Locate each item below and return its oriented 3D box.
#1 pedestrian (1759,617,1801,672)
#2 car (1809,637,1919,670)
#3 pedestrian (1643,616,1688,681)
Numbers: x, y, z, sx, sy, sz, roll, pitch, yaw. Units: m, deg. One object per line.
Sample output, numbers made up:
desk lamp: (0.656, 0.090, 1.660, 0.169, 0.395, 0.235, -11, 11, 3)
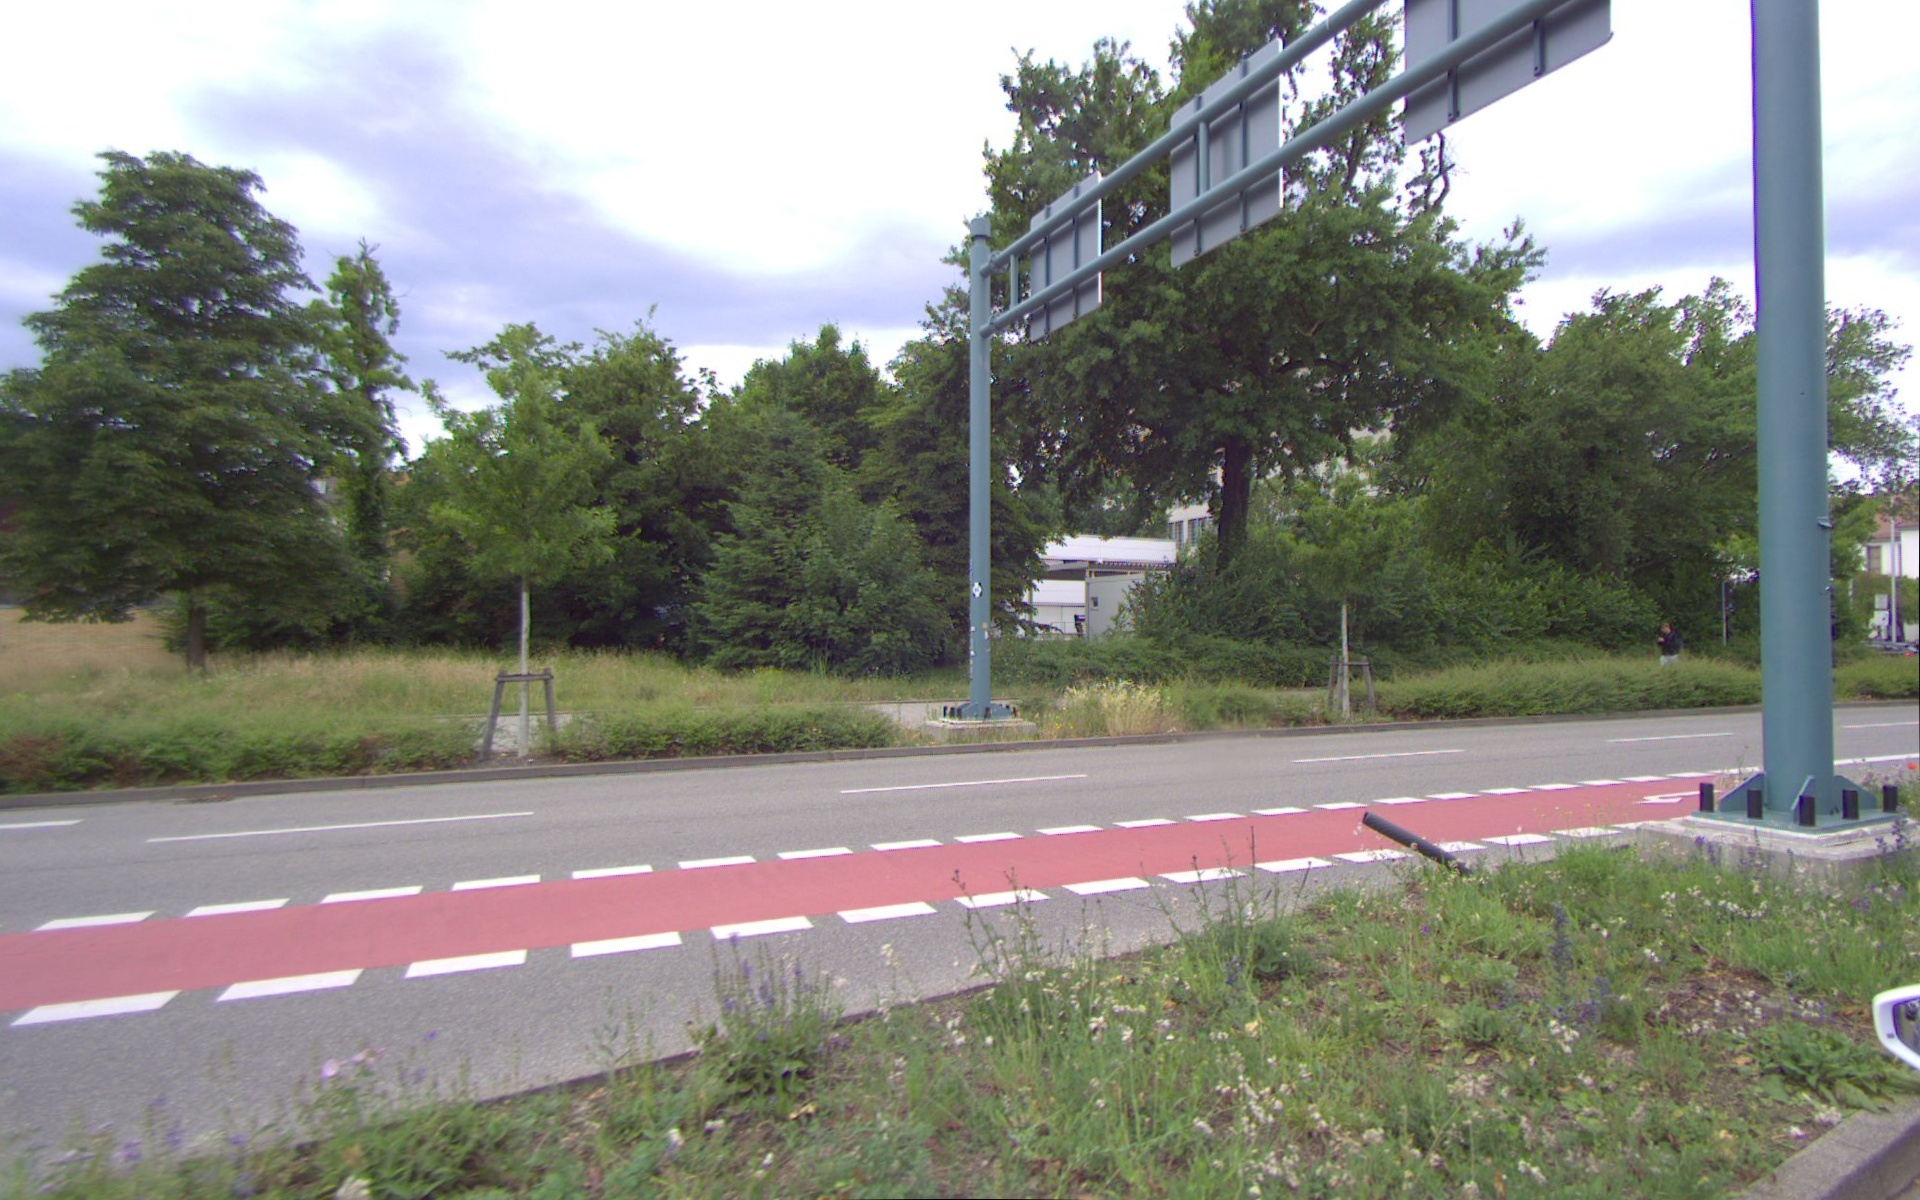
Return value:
pedestrian: (24.913, 1.354, 30.535, 0.662, 1.657, 0.699, 0, -3, -23)
car: (46.388, 2.721, 51.547, 1.609, 1.472, 4.018, -6, 2, -39)
pedestrian: (19.515, 1.338, 27.789, 0.806, 1.752, 0.619, 0, -3, -23)
